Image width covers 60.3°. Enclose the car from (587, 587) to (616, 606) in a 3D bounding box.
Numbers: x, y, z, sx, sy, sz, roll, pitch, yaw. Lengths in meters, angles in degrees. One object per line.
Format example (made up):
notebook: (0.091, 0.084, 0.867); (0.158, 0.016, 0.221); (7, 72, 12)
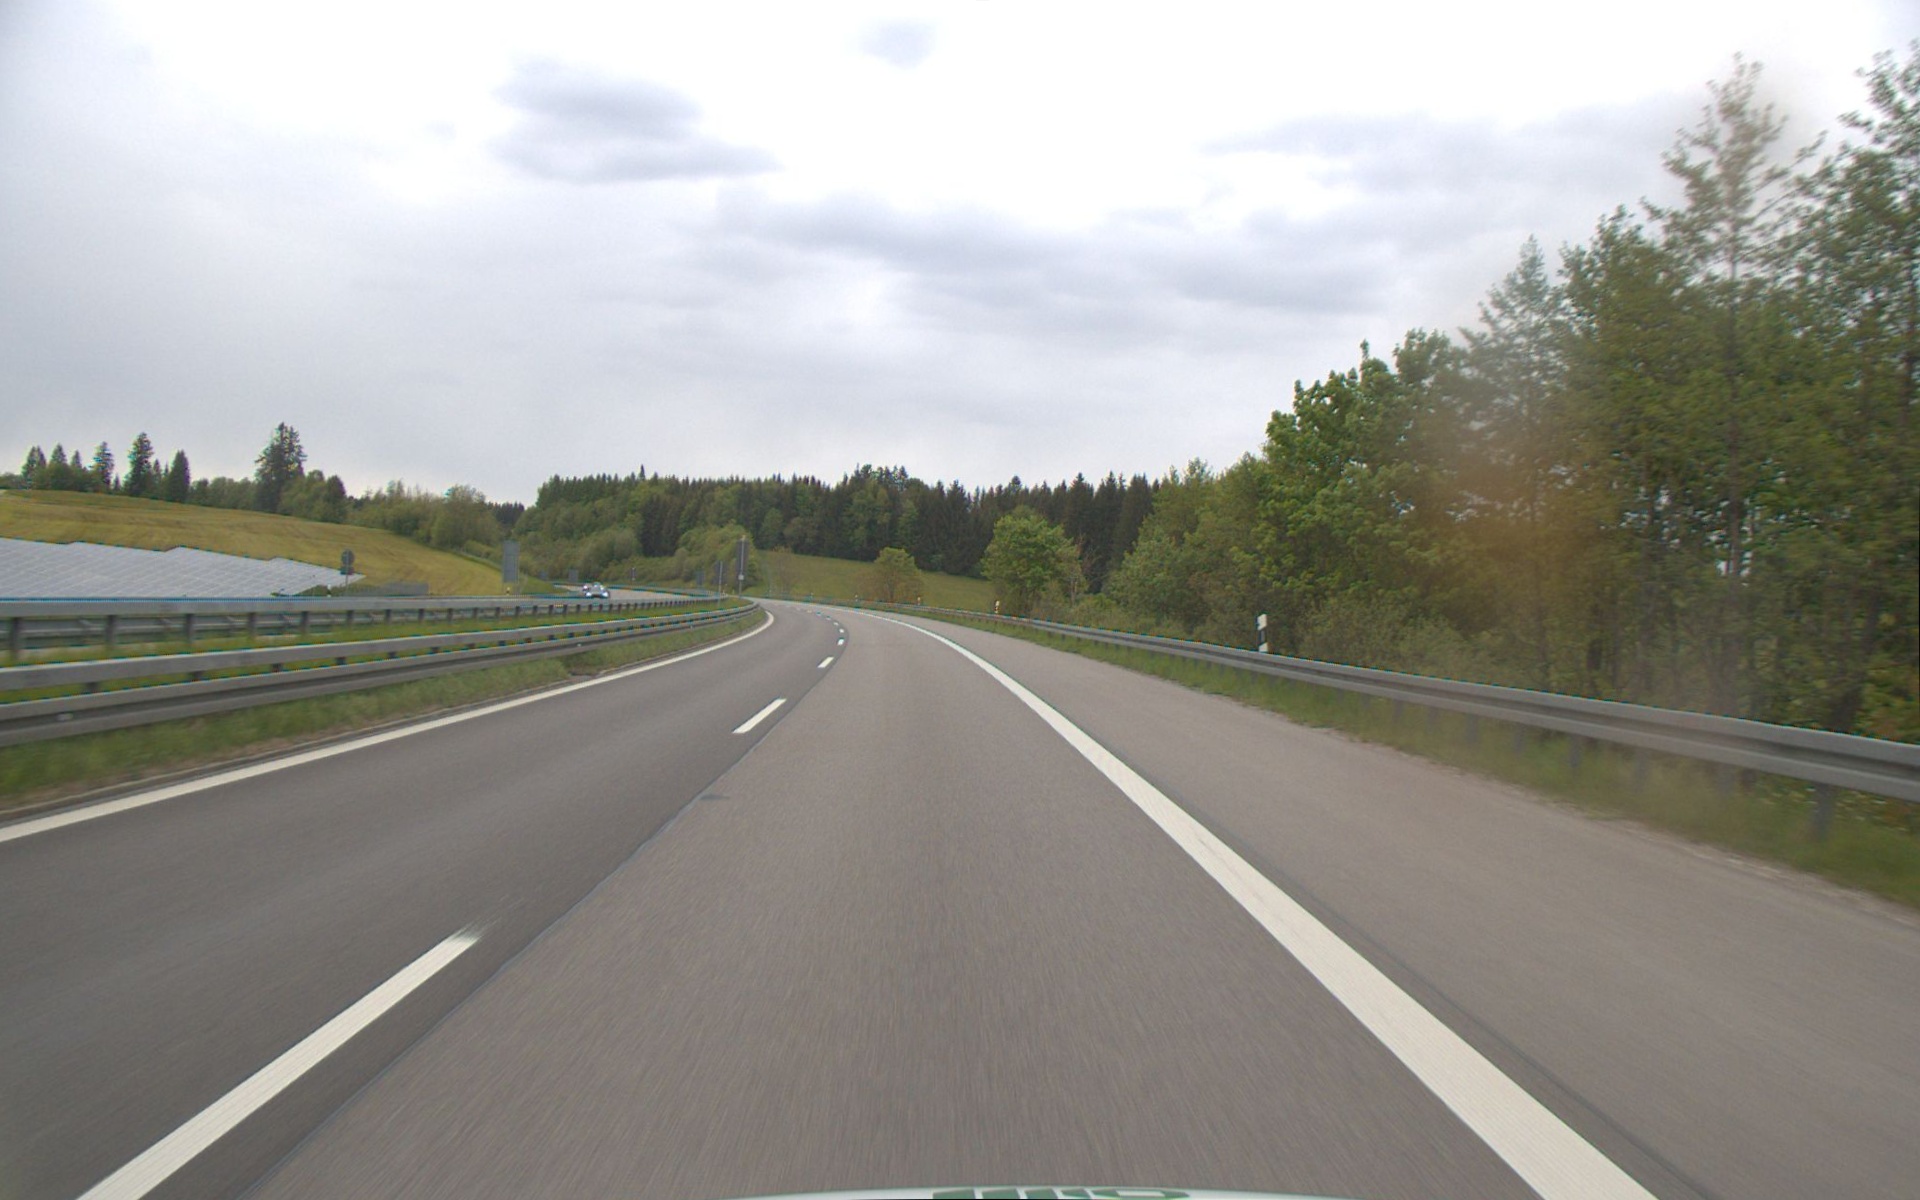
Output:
car: (-30.482, -0.296, 140.747); (1.956, 1.524, 4.145); (4, 0, -7)
